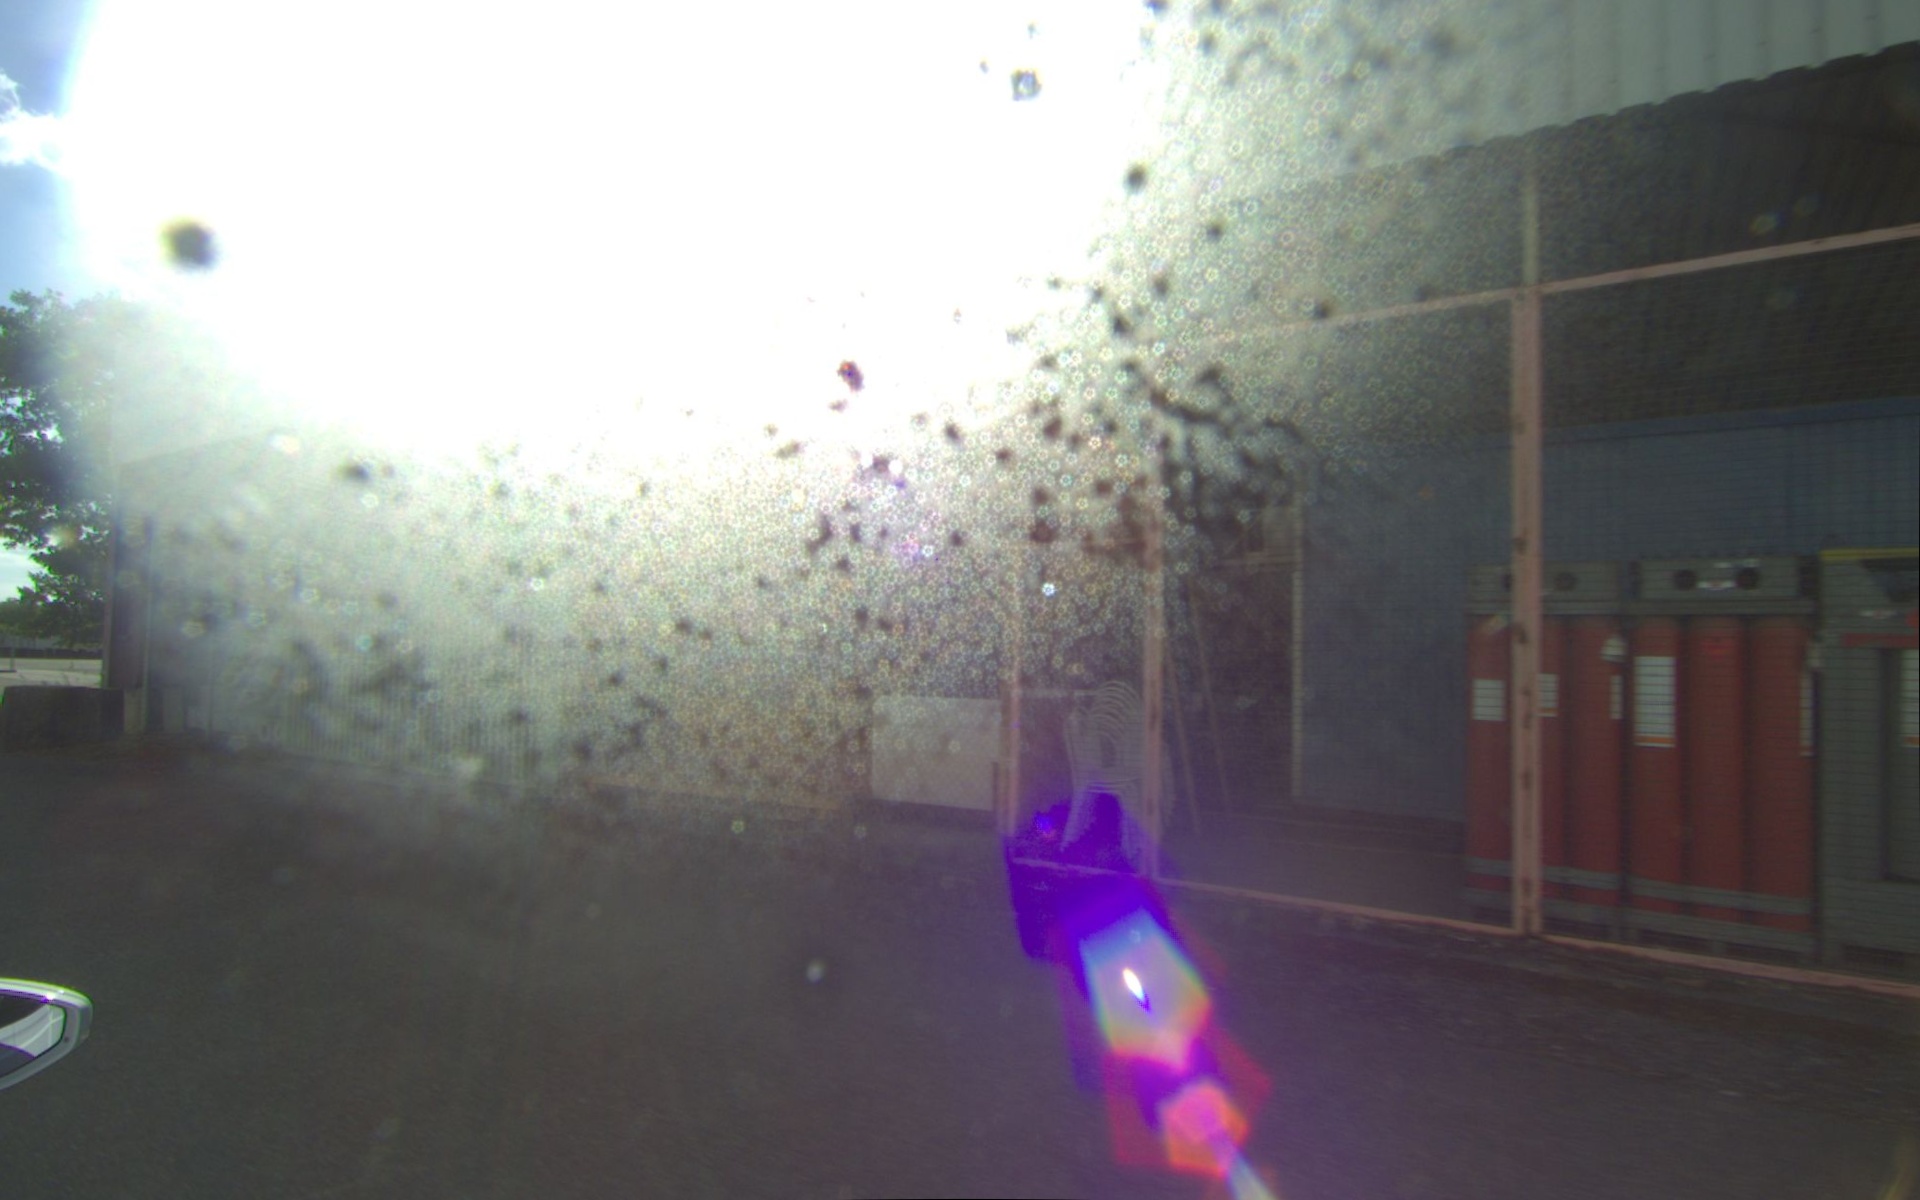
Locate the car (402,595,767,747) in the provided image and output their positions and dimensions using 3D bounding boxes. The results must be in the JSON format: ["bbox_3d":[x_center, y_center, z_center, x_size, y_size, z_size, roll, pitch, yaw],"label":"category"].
[{"bbox_3d":[-5.383,1.039,15.292,1.968,1.900,5.238,0,-3,27],"label":"car"}]
